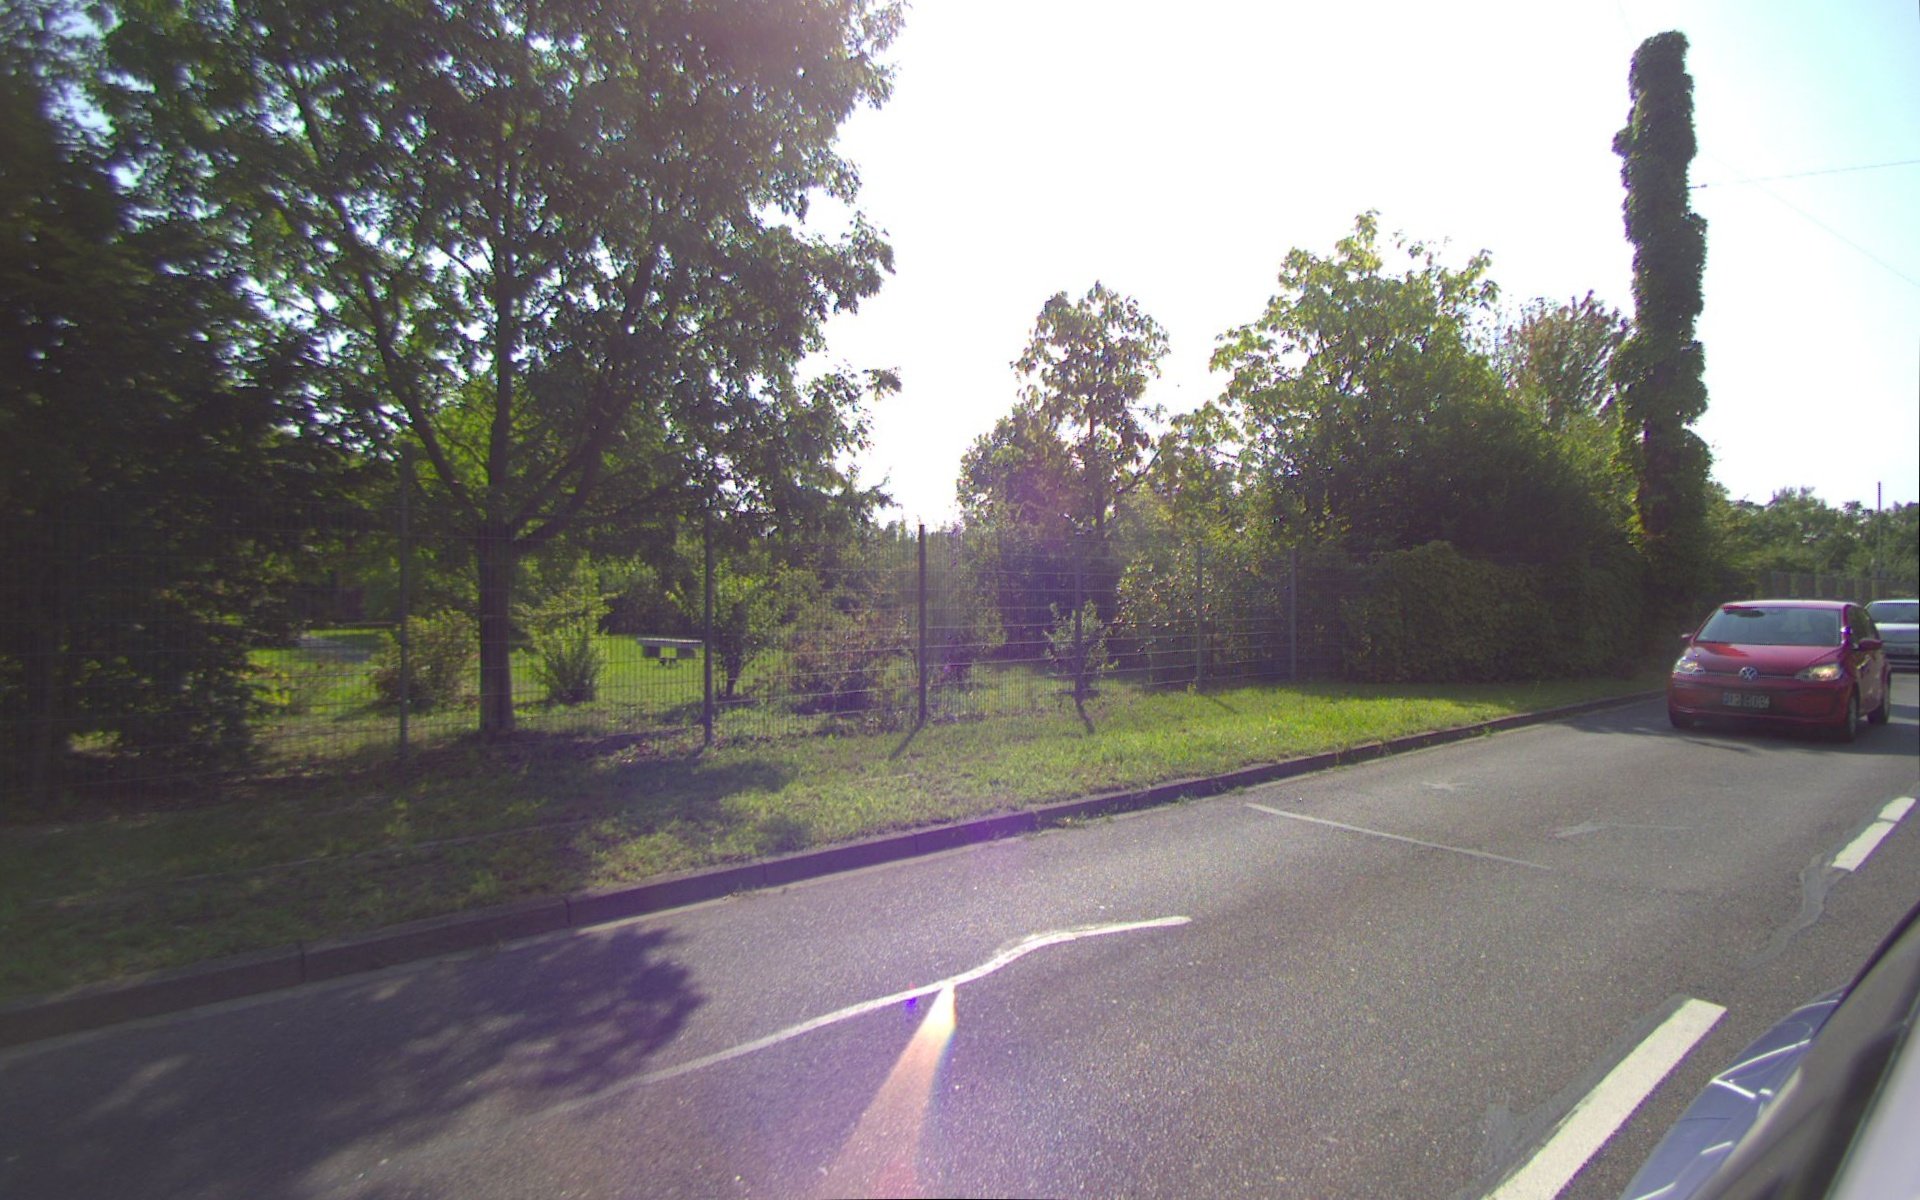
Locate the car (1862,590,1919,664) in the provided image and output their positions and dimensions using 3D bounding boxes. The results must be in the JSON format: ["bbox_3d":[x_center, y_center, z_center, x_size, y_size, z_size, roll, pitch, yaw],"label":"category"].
[{"bbox_3d":[20.851,0.532,21.834,3.832,1.494,1.647,-1,0,-42],"label":"car"}]

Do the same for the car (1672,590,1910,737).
[{"bbox_3d":[9.772,0.619,11.825,3.411,1.416,1.578,-1,2,-41],"label":"car"}]
